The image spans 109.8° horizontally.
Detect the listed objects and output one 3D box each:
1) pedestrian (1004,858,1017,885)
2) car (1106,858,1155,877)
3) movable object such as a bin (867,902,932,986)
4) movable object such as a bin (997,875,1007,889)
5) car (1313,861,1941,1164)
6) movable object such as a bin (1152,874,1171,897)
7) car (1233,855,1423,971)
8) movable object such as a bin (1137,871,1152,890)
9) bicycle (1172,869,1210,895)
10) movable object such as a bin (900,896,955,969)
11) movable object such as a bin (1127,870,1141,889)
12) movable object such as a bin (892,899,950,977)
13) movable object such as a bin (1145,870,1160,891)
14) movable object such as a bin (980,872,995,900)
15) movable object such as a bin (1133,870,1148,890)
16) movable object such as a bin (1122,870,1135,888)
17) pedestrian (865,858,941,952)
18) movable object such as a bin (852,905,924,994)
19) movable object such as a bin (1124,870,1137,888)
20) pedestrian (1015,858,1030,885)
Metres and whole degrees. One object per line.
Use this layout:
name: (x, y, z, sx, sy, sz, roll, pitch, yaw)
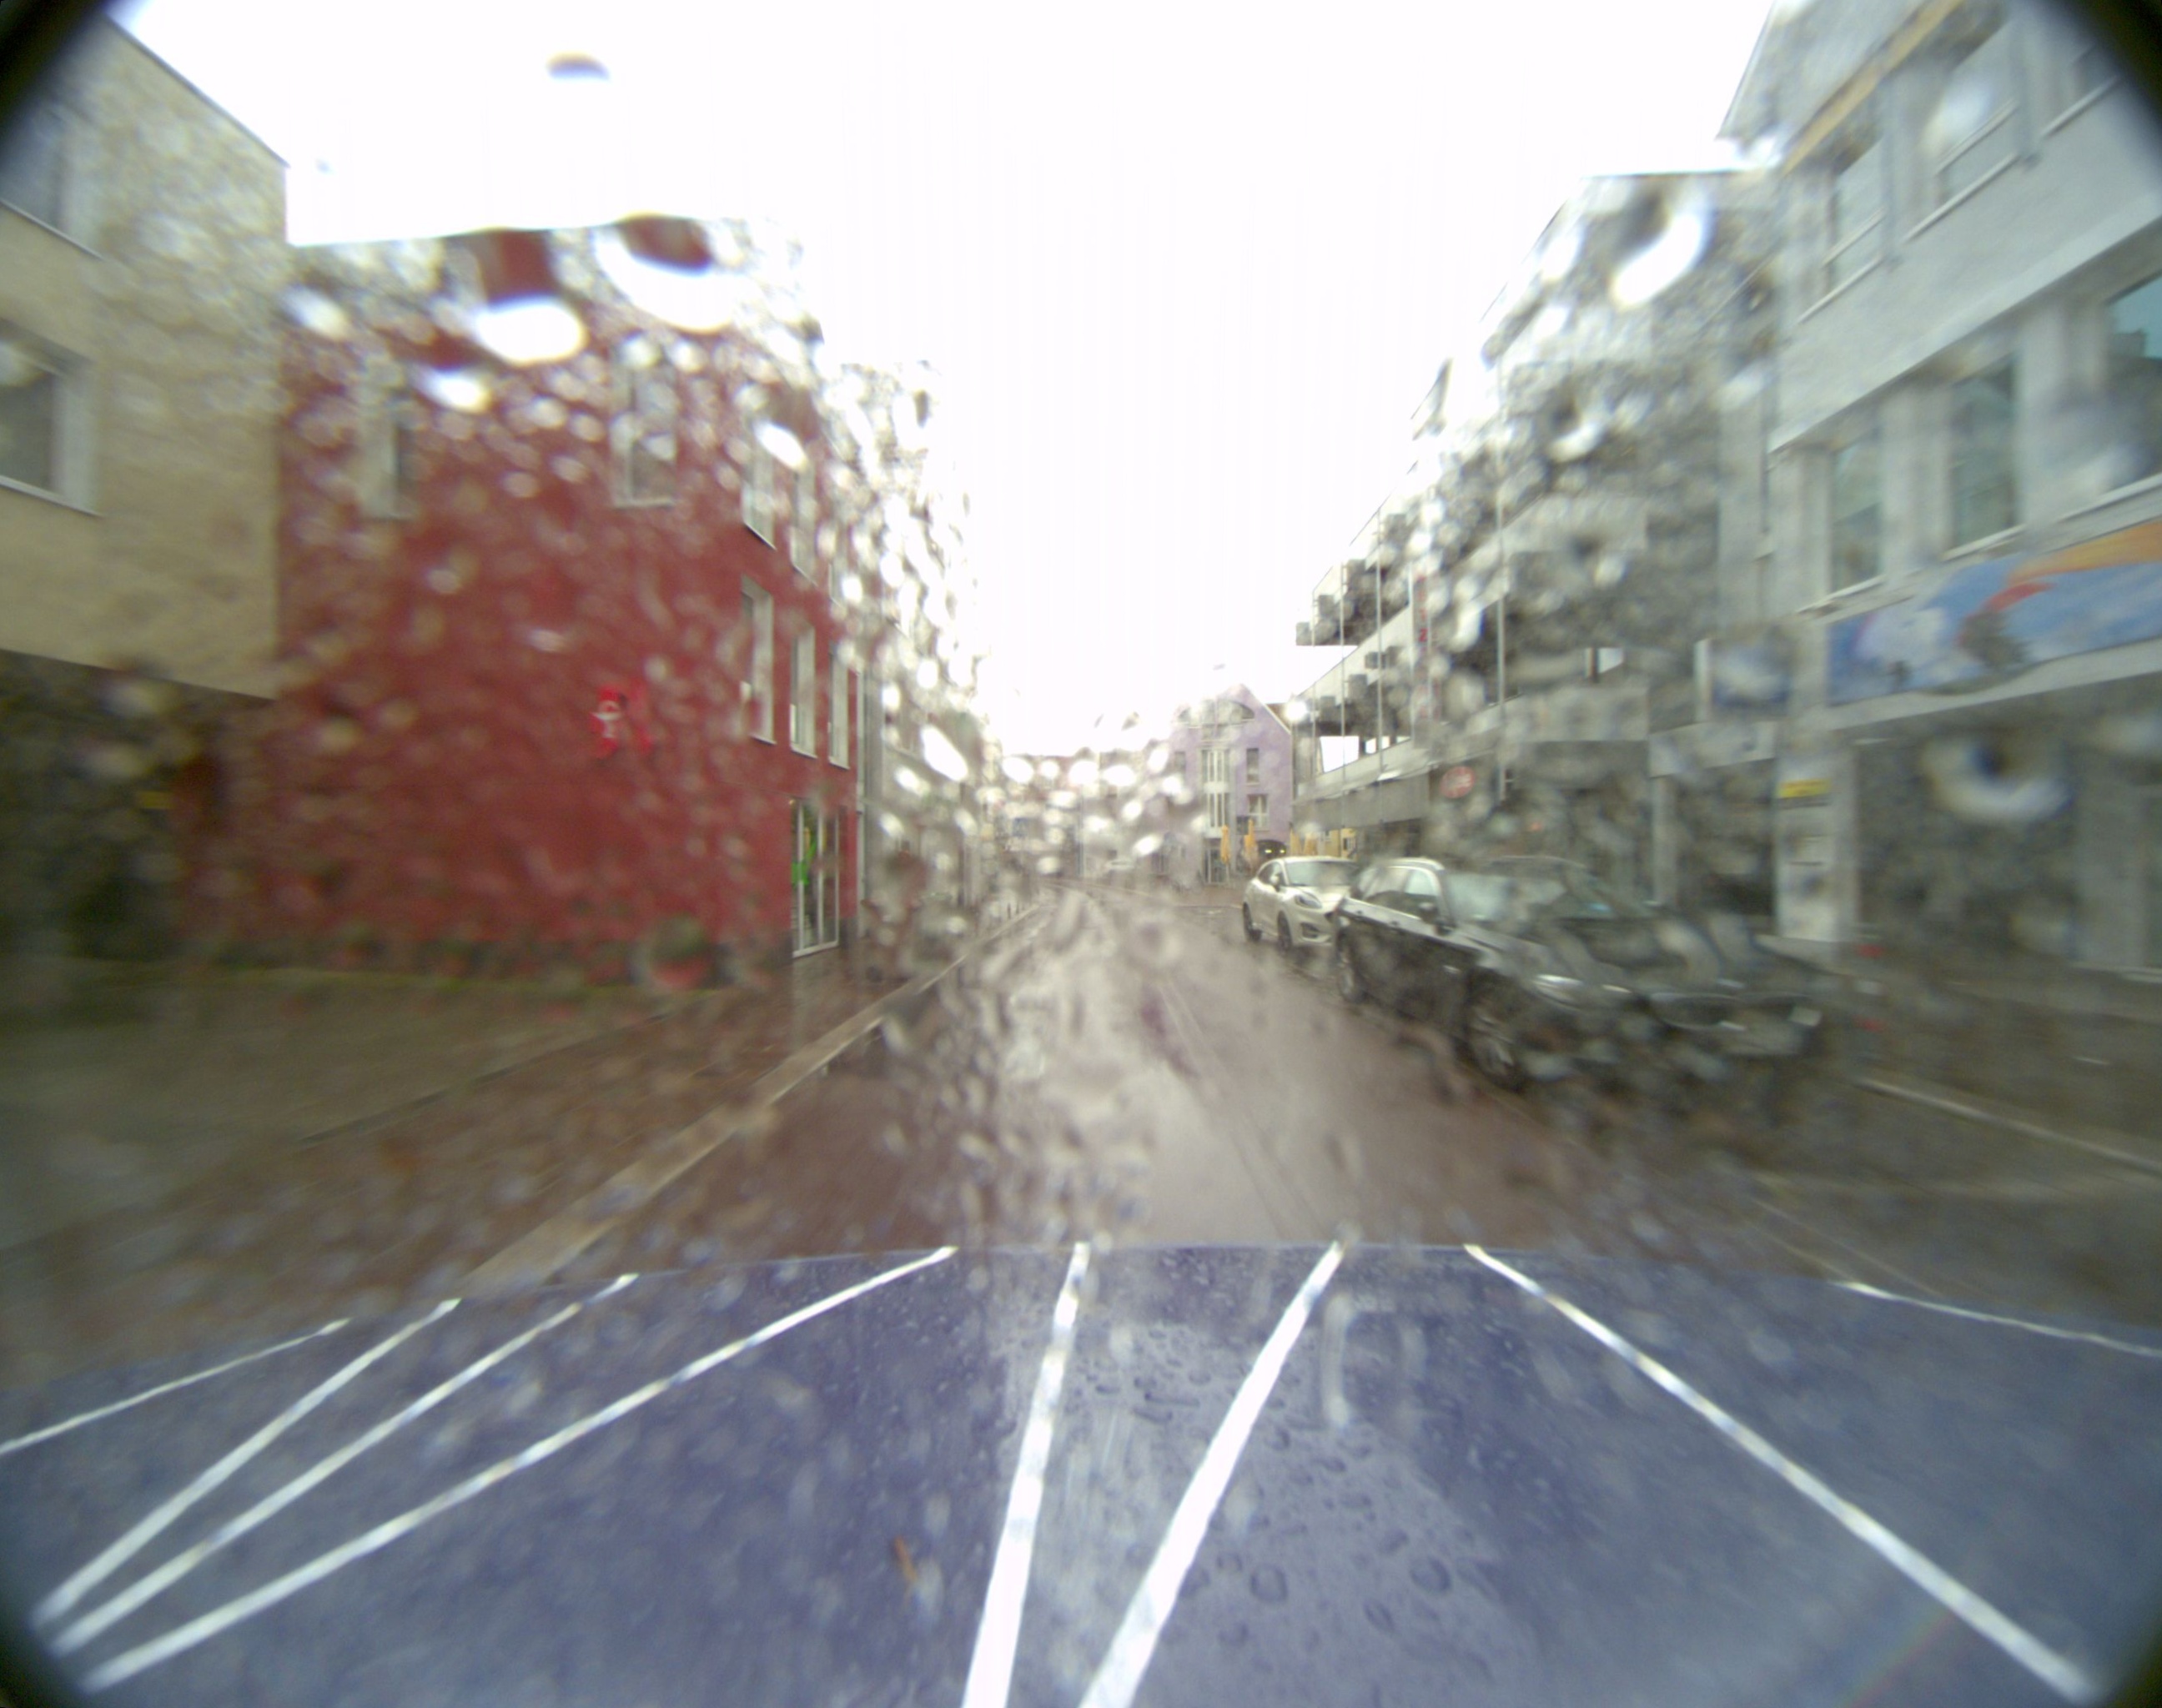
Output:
pedestrian: (-5.011, 1.239, 54.217, 0.656, 1.892, 0.657, 1, 1, -25)
car: (4.197, 1.142, 64.506, 3.993, 1.575, 1.833, -1, 2, 8)
movable object such as a bin: (-2.514, 1.231, 10.572, 0.712, 1.088, 0.614, -1, 1, 2)
movable object such as a bin: (-4.766, 1.693, 45.986, 0.547, 0.831, 0.909, 2, -1, -5)
car: (3.471, 0.820, 6.216, 1.835, 1.490, 4.764, 0, 0, 2)
movable object such as a bin: (3.676, 1.423, 34.737, 0.689, 1.014, 0.631, -1, 0, -17)
car: (3.787, 0.838, 12.437, 1.796, 1.541, 4.000, -2, -1, 0)
movable object such as a bin: (3.596, 1.486, 42.980, 0.688, 1.067, 0.669, -1, 0, -8)
bicycle: (5.147, 1.305, 35.445, 1.753, 1.158, 0.443, -1, 2, -19)
movable object such as a bin: (-2.424, 1.226, 12.041, 0.678, 1.080, 0.718, -1, 1, 2)
movable object such as a bin: (3.192, 1.537, 46.039, 0.688, 1.074, 0.669, -1, 0, -8)
movable object such as a bin: (-2.365, 1.232, 11.283, 0.678, 1.078, 0.698, -1, 1, 2)
movable object such as a bin: (3.866, 1.423, 41.031, 0.688, 1.070, 0.669, -1, 0, -8)
movable object such as a bin: (-3.762, 1.283, 30.615, 0.502, 1.050, 0.548, 1, 2, 0)
movable object such as a bin: (3.468, 1.517, 44.238, 0.688, 1.099, 0.669, -1, 0, -8)
movable object such as a bin: (2.955, 1.551, 47.718, 0.688, 1.072, 0.676, -1, 0, -8)
pedestrian: (-3.346, 0.933, 14.401, 1.180, 1.687, 1.177, 1, 0, -2)
movable object such as a bin: (-2.499, 1.224, 9.909, 0.731, 1.075, 0.646, -1, 1, 2)
movable object such as a bin: (3.061, 1.545, 46.977, 0.688, 1.080, 0.712, -1, 0, -8)
pedestrian: (-4.166, 1.240, 54.315, 0.775, 1.894, 0.803, -2, 2, -25)
